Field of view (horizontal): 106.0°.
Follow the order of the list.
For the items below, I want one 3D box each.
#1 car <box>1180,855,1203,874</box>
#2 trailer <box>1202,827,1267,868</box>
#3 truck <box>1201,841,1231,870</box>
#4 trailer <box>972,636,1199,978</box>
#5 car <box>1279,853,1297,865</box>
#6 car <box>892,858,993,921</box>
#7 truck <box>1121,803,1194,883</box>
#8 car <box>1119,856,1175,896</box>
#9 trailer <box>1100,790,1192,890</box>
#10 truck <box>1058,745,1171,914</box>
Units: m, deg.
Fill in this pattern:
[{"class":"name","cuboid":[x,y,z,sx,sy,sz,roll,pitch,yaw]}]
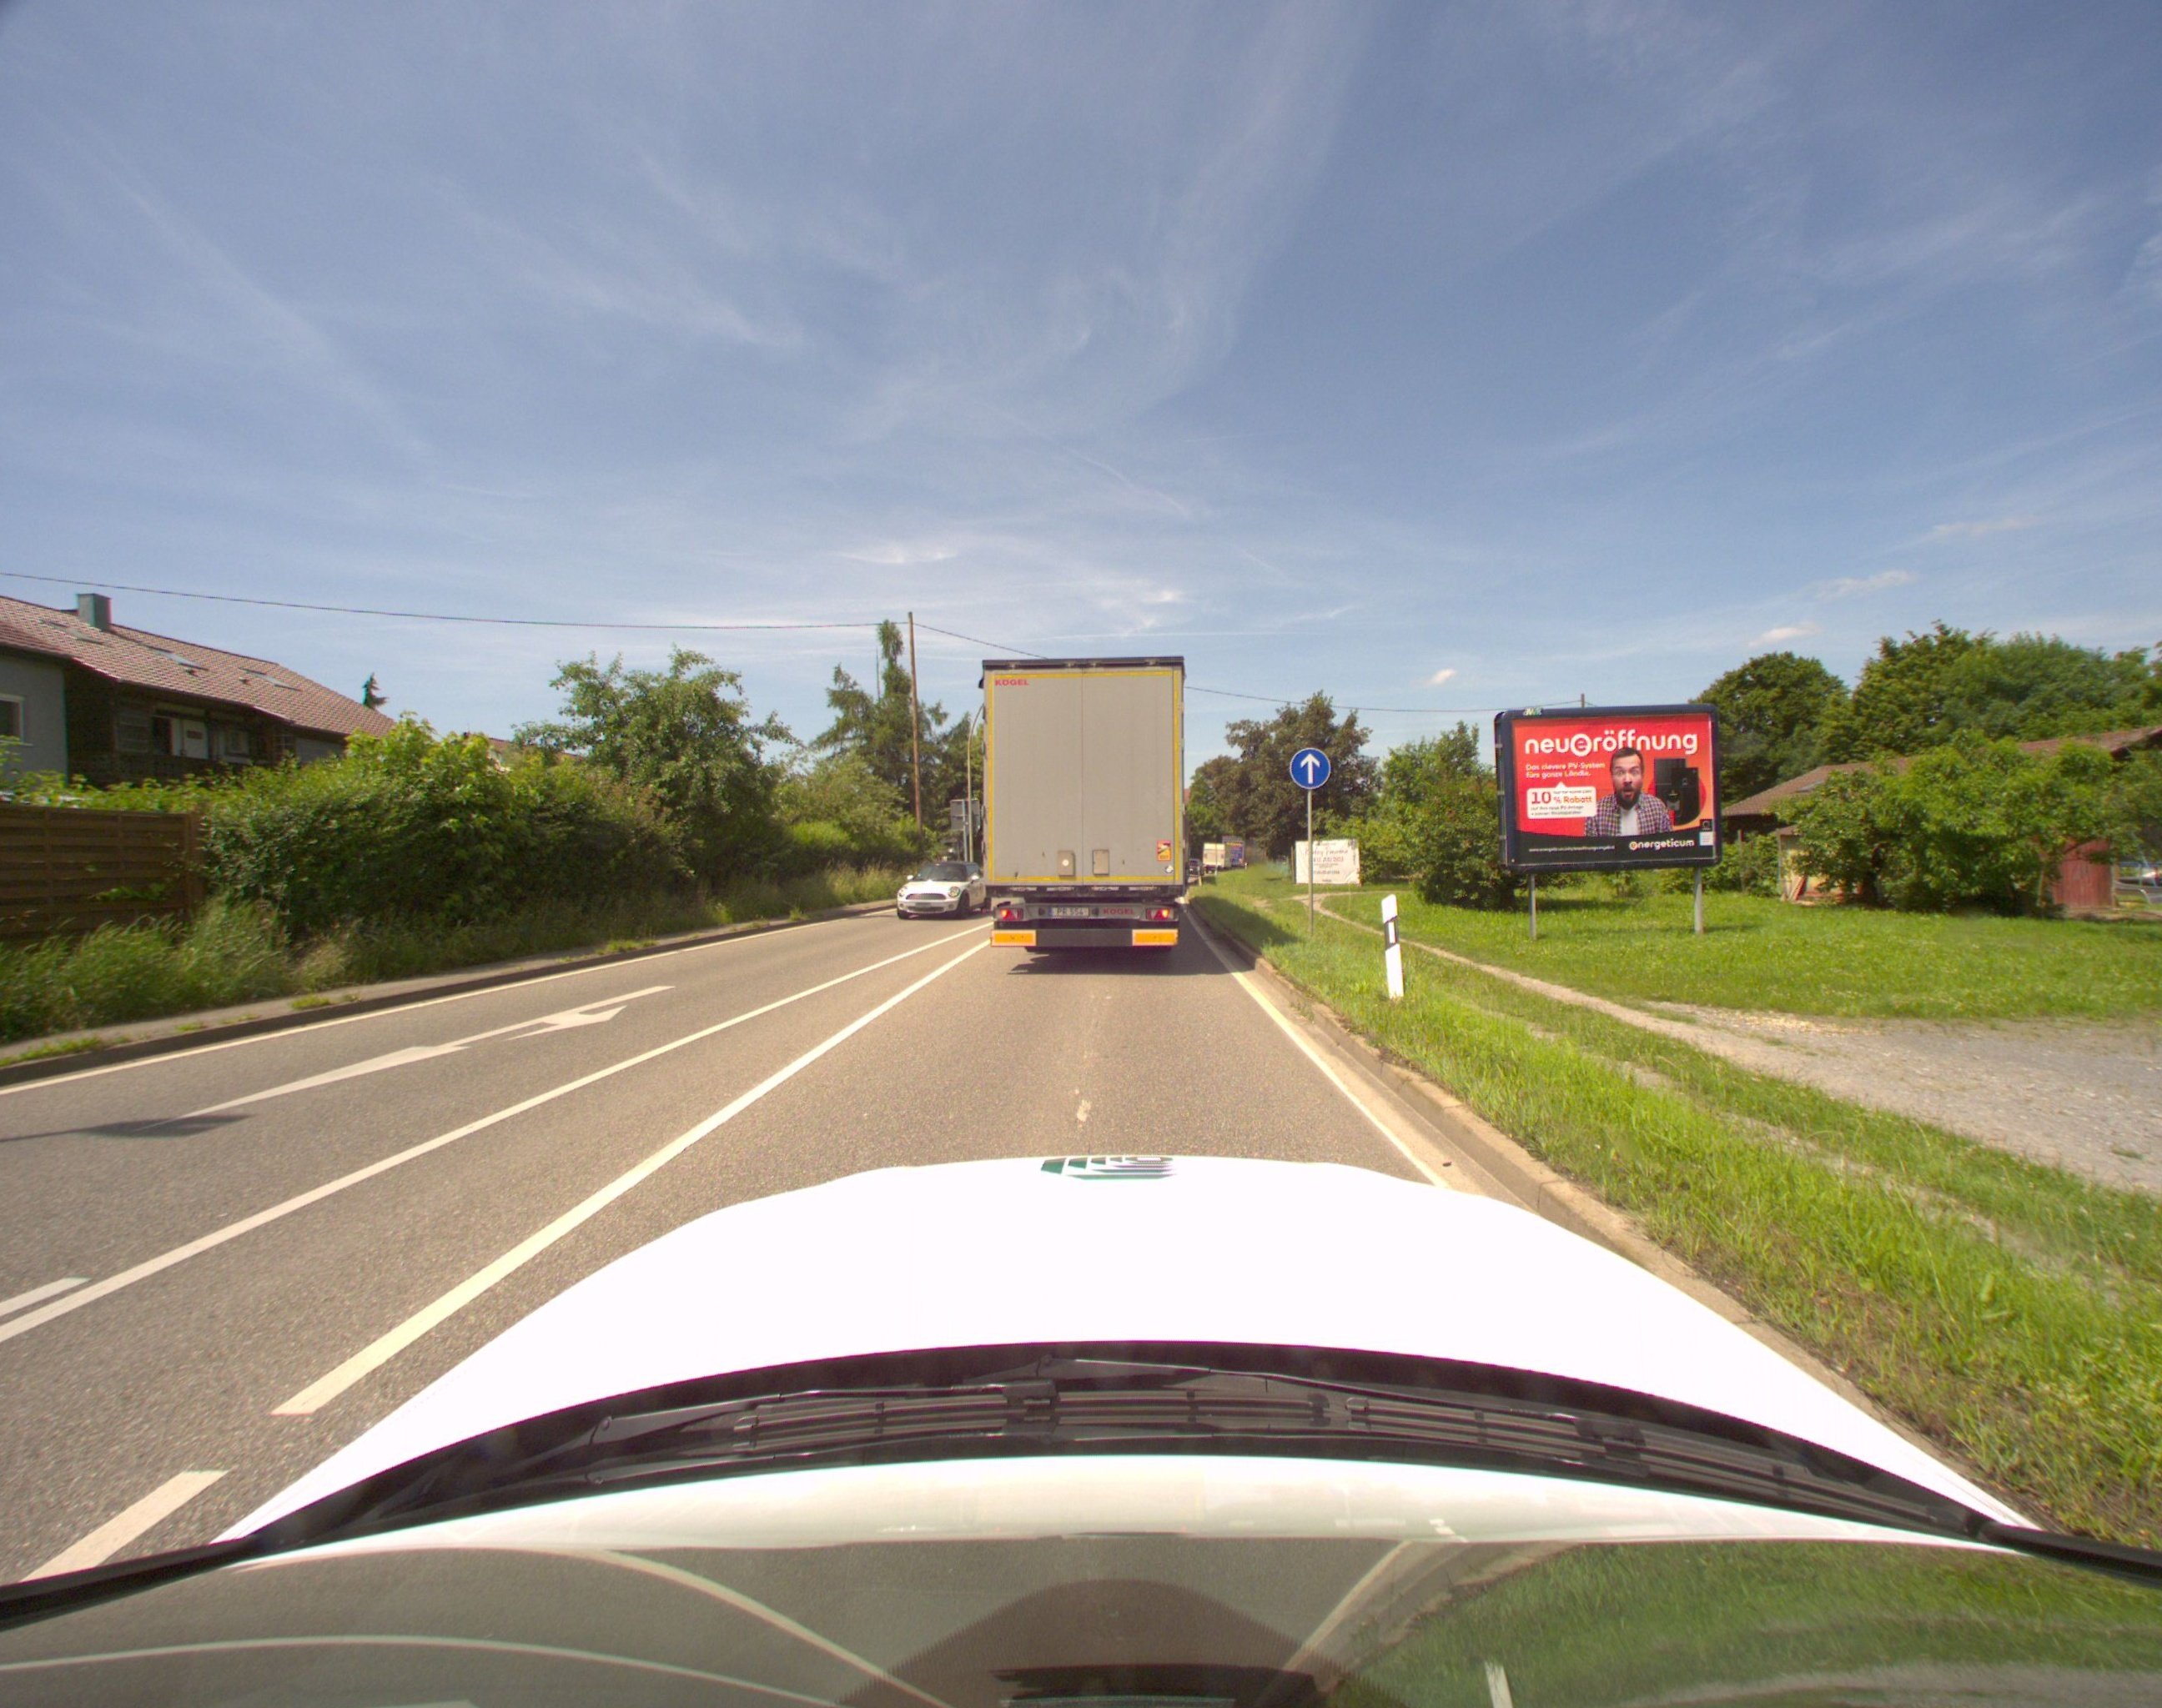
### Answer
[{"class":"car","cuboid":[9.378,0.850,68.906,1.831,1.486,4.010,-1,0,8]},{"class":"trailer","cuboid":[18.988,-0.798,99.261,5.136,4.628,15.976,-1,0,20]},{"class":"truck","cuboid":[13.750,0.121,82.490,2.402,2.838,5.434,-1,0,15]},{"class":"trailer","cuboid":[0.509,-0.612,16.149,2.774,4.205,12.126,-1,0,4]},{"class":"car","cuboid":[30.930,0.785,121.679,1.975,1.684,4.023,-1,0,25]},{"class":"car","cuboid":[-3.439,0.846,20.891,1.614,1.381,3.566,1,0,6]},{"class":"truck","cuboid":[4.890,-0.624,50.496,3.914,4.575,7.170,-1,0,9]},{"class":"car","cuboid":[2.793,0.876,33.879,1.982,1.530,4.010,-1,0,9]},{"class":"trailer","cuboid":[3.831,-0.620,43.757,3.868,4.521,12.745,-1,0,9]},{"class":"truck","cuboid":[1.174,-0.617,23.343,2.731,4.165,6.154,-1,0,7]}]
